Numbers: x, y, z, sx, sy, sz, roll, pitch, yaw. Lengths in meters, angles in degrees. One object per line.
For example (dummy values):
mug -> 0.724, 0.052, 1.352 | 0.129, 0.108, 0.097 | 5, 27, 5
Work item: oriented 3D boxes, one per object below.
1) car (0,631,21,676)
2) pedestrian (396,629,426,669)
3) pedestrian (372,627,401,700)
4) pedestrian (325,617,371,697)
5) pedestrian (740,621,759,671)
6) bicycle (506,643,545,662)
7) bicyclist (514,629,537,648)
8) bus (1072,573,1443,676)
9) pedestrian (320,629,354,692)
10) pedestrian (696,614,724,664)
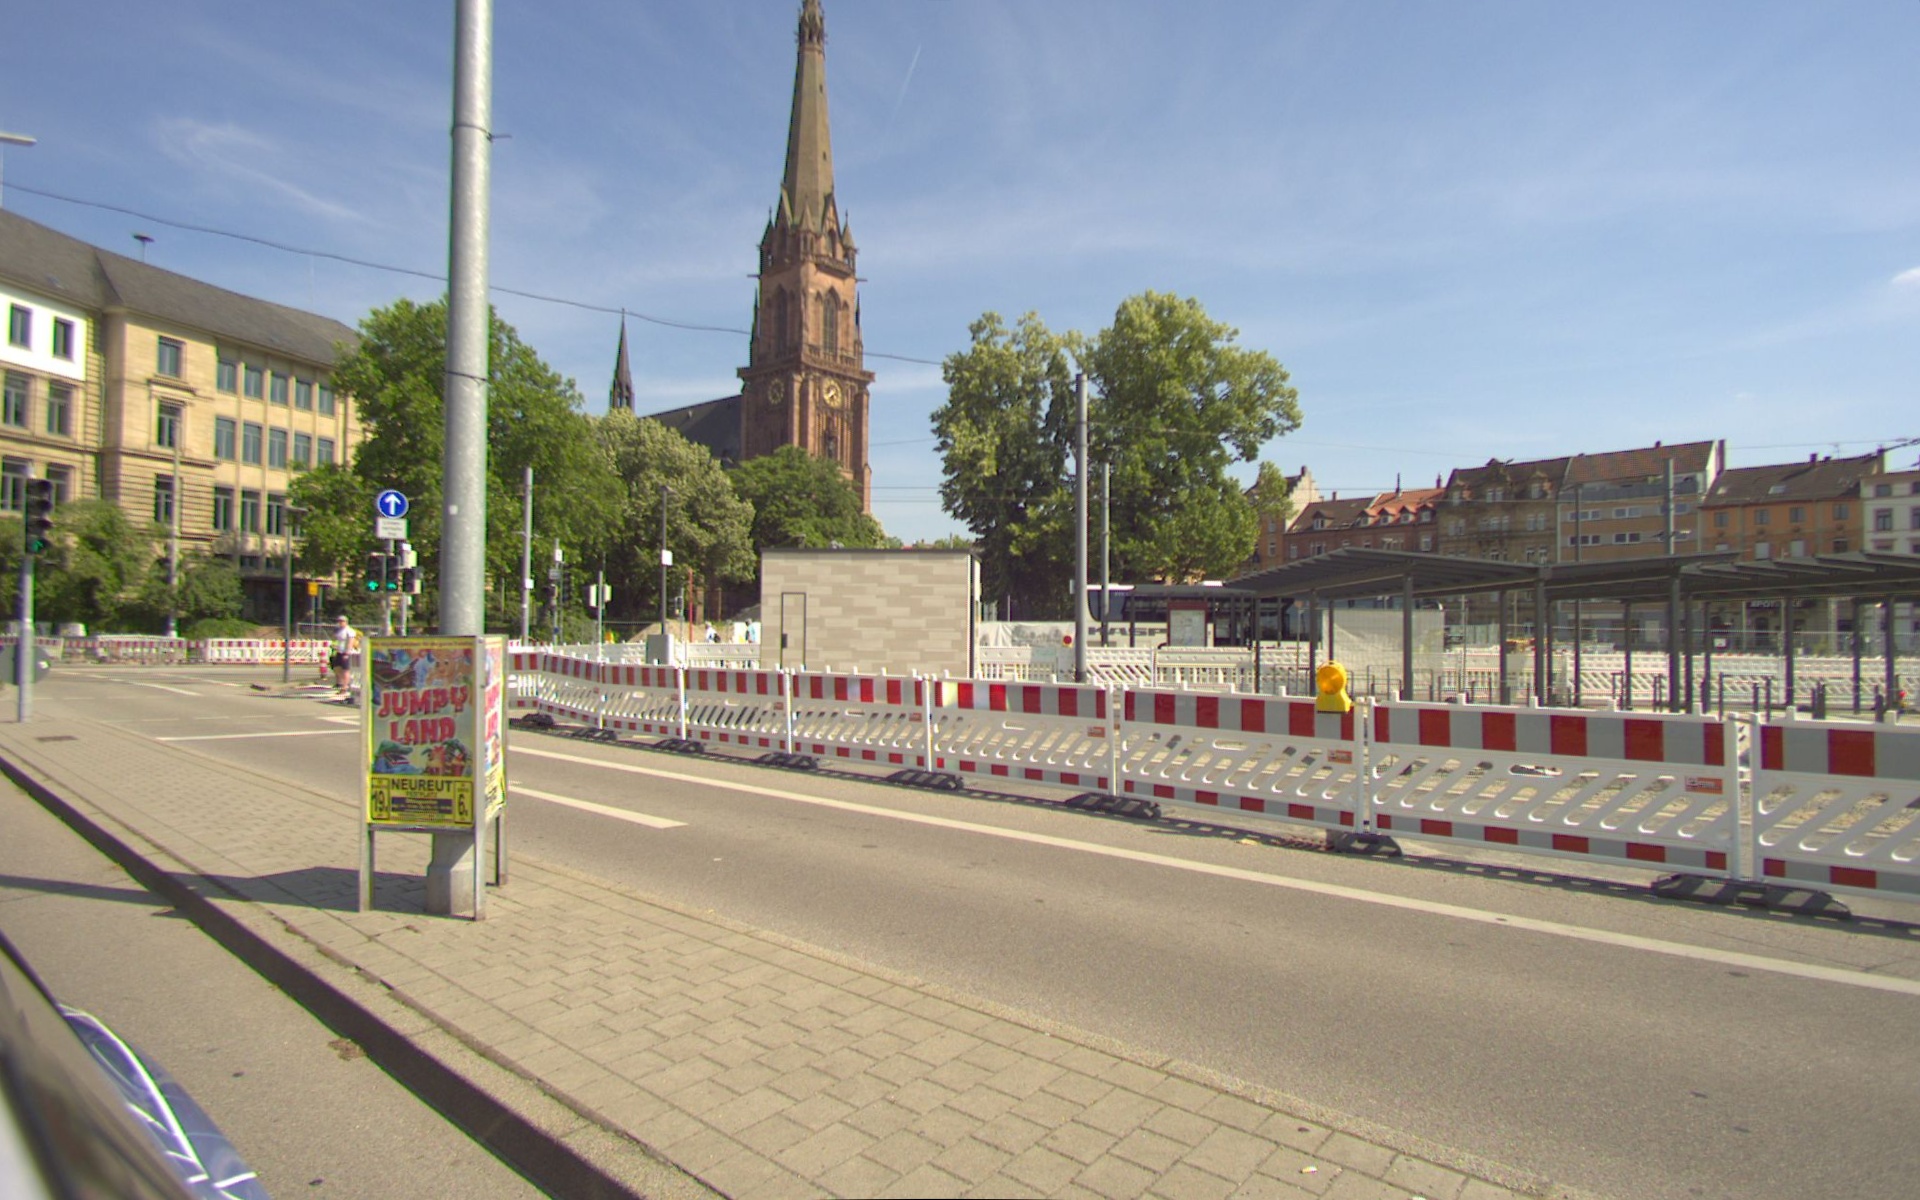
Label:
car -> -32.948, 1.754, 33.758 | 3.810, 1.462, 1.651 | -1, -4, 36
pedestrian -> -23.004, 2.039, 42.386 | 0.926, 1.668, 0.845 | 2, -3, -41
pedestrian -> -12.903, 1.413, 22.760 | 0.686, 1.628, 0.346 | -2, -3, 42
pedestrian -> -14.465, 1.334, 23.918 | 0.828, 1.826, 0.650 | 1, -3, -40
pedestrian -> -7.021, 1.533, 33.729 | 0.576, 1.628, 0.691 | 0, -2, -9
bicycle -> -21.887, 2.632, 50.978 | 1.643, 0.954, 0.701 | 0, -2, 2
bicyclist -> -21.878, 1.953, 50.997 | 0.858, 0.934, 0.682 | 0, -2, 2
bus -> 10.367, 0.867, 36.647 | 12.504, 3.516, 2.856 | 0, -2, 7
pedestrian -> -15.795, 1.523, 25.680 | 0.656, 1.555, 0.424 | -2, 0, -27
pedestrian -> -8.243, 1.277, 33.366 | 0.780, 1.628, 0.664 | 0, -2, -23
